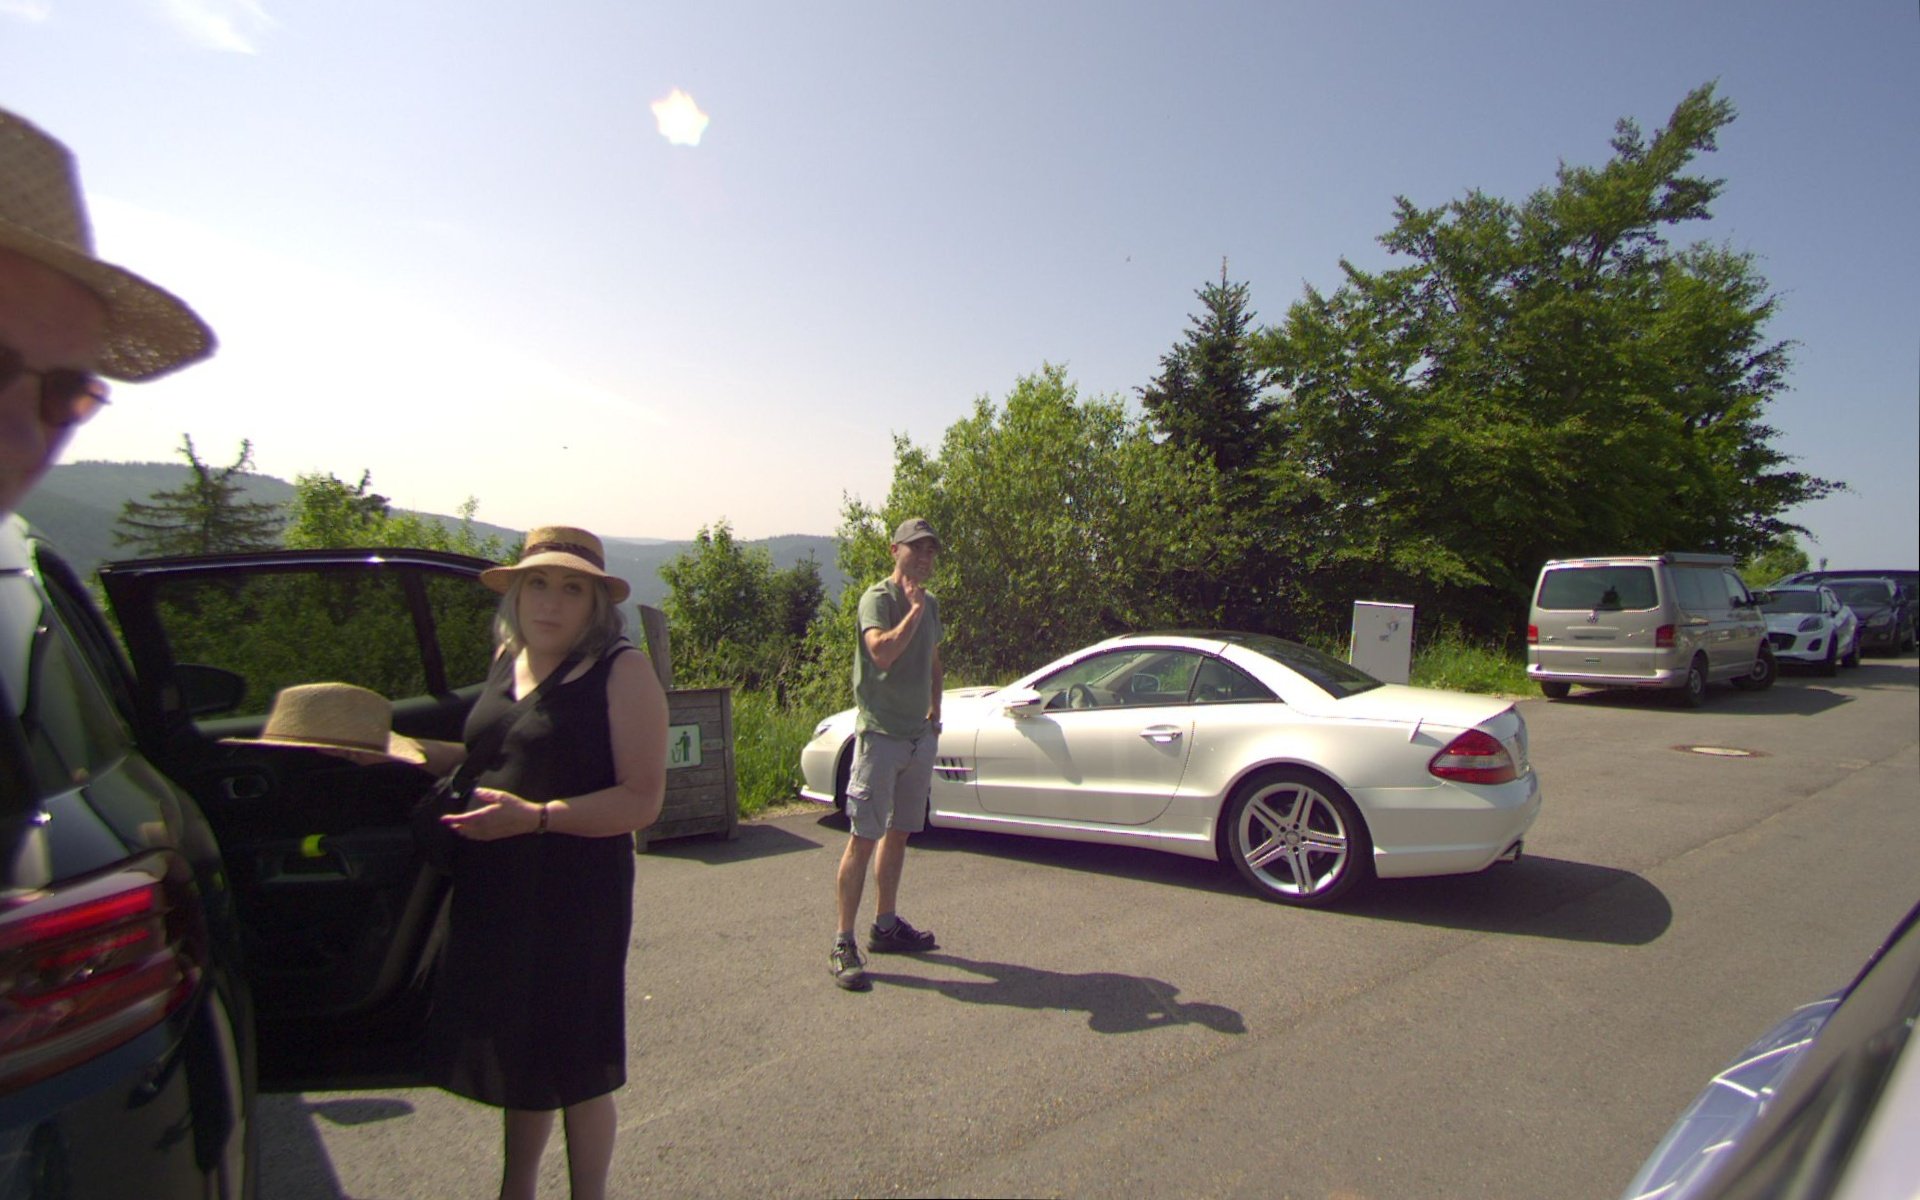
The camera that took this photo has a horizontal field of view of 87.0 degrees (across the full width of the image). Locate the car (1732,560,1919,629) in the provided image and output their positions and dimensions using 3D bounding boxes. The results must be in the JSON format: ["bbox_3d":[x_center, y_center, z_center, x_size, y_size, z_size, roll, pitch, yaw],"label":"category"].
[{"bbox_3d":[25.927,-0.160,30.159,4.423,1.949,1.856,0,0,31],"label":"car"}]

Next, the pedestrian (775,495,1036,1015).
[{"bbox_3d":[-0.217,0.532,4.065,0.733,1.822,0.736,0,1,44],"label":"pedestrian"}]

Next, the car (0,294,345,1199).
[{"bbox_3d":[-2.714,0.591,2.226,1.836,1.647,4.354,-1,0,-38],"label":"car"}]

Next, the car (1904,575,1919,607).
[{"bbox_3d":[52.285,-0.387,52.948,1.842,1.634,3.913,0,4,-37],"label":"car"}]

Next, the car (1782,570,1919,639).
[{"bbox_3d":[23.054,0.096,25.013,3.967,1.639,1.856,0,0,31],"label":"car"}]

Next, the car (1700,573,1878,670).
[{"bbox_3d":[15.044,0.331,18.310,3.931,1.567,1.873,-1,0,-41],"label":"car"}]

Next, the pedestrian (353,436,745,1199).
[{"bbox_3d":[-0.865,0.542,2.091,0.527,1.633,0.715,-1,1,-42],"label":"pedestrian"}]

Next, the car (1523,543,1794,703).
[{"bbox_3d":[10.064,0.268,14.464,4.524,1.960,1.862,0,0,-37],"label":"car"}]

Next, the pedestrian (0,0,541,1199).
[{"bbox_3d":[-0.748,0.460,0.644,0.722,1.895,0.758,3,-1,-32],"label":"pedestrian"}]

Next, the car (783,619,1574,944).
[{"bbox_3d":[1.133,0.785,6.132,4.379,1.312,1.735,-1,-1,33],"label":"car"}]

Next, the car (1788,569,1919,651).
[{"bbox_3d":[19.712,0.174,22.127,3.931,1.639,1.873,-1,0,-41],"label":"car"}]
